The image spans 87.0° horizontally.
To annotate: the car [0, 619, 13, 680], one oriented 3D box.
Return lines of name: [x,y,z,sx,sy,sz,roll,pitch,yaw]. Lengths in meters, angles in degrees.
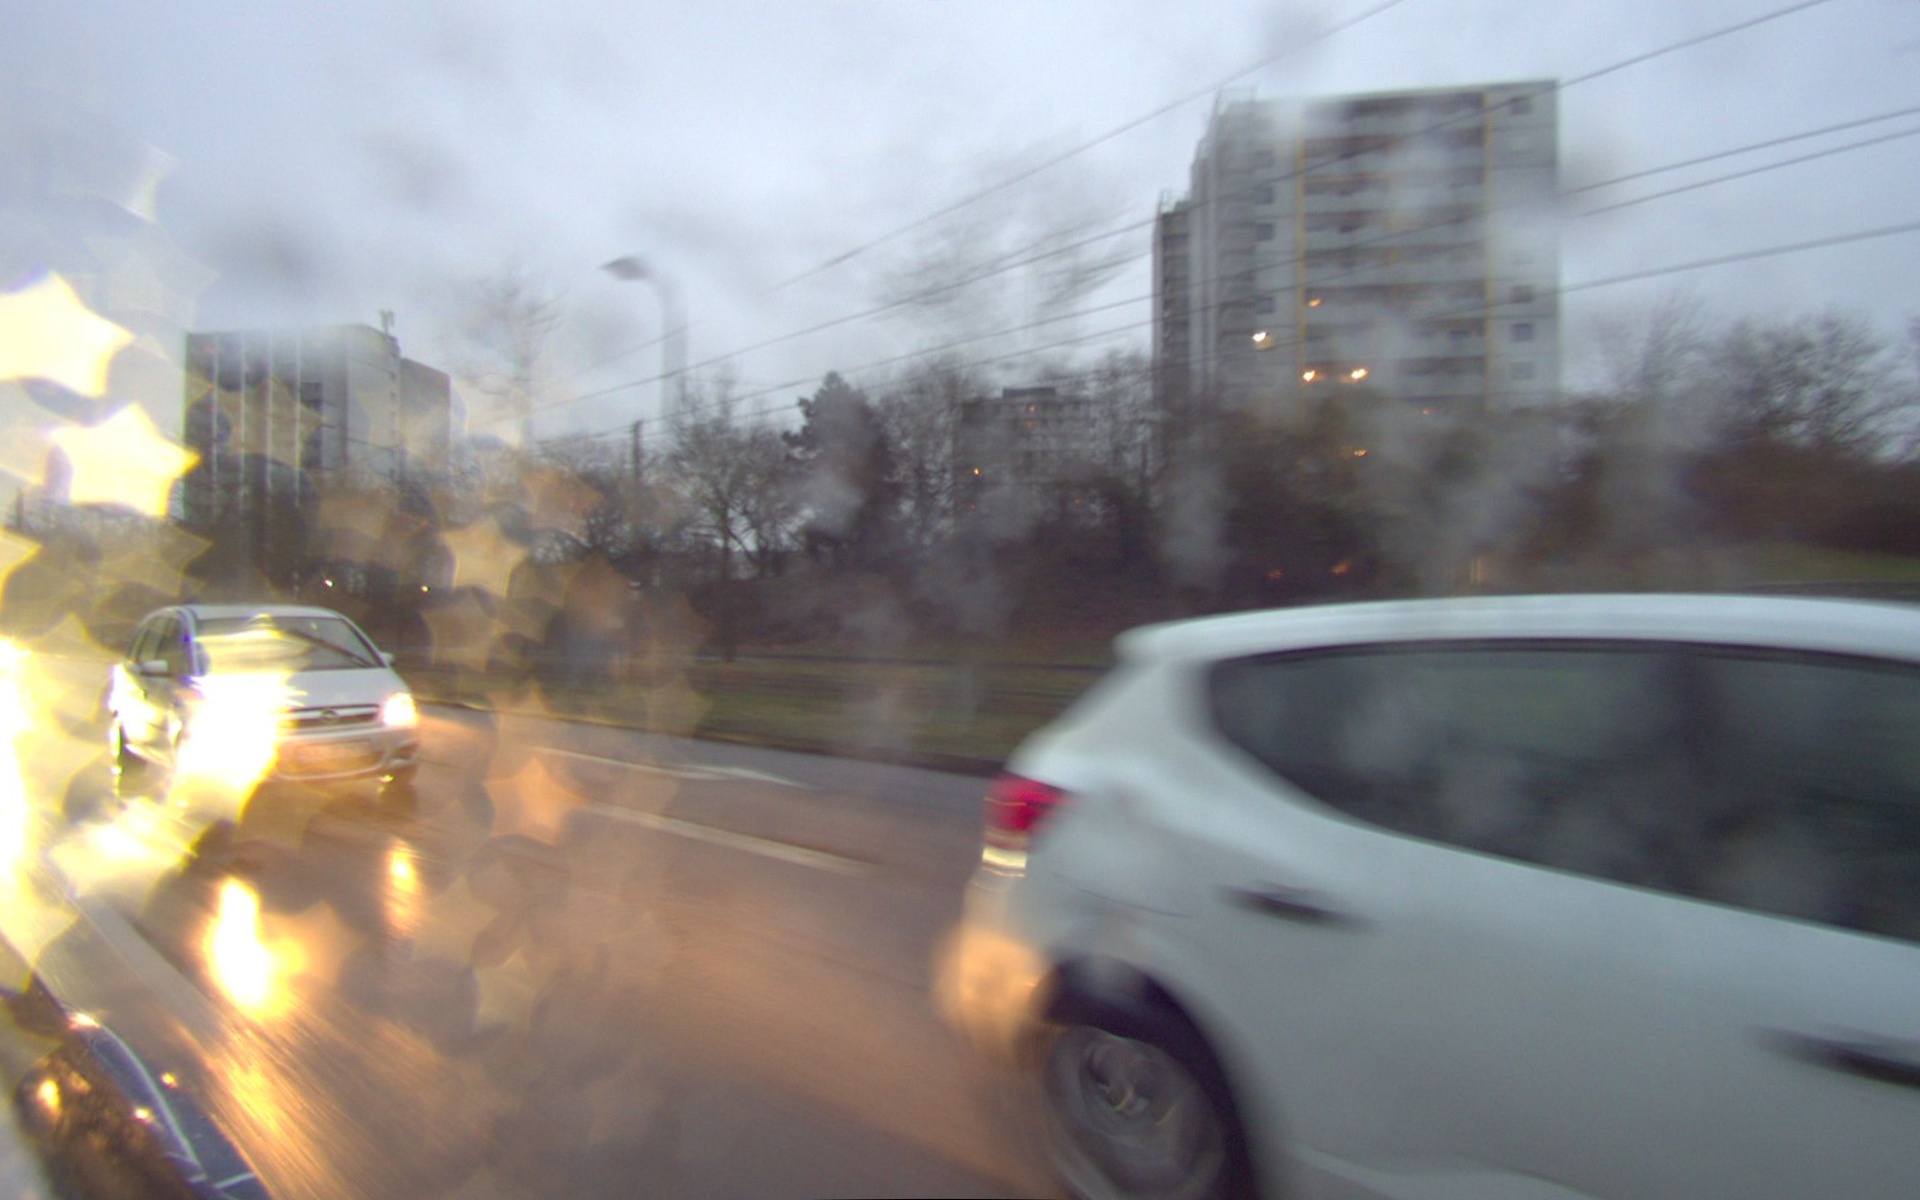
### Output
car: [-27.554,1.351,27.655,4.121,1.612,1.928,-2,-2,40]

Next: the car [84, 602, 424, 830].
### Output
car: [-6.421,0.839,8.999,4.190,1.551,1.671,-2,-1,43]

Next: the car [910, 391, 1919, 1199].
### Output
car: [1.980,0.563,1.822,4.145,1.660,1.696,-2,-2,41]
